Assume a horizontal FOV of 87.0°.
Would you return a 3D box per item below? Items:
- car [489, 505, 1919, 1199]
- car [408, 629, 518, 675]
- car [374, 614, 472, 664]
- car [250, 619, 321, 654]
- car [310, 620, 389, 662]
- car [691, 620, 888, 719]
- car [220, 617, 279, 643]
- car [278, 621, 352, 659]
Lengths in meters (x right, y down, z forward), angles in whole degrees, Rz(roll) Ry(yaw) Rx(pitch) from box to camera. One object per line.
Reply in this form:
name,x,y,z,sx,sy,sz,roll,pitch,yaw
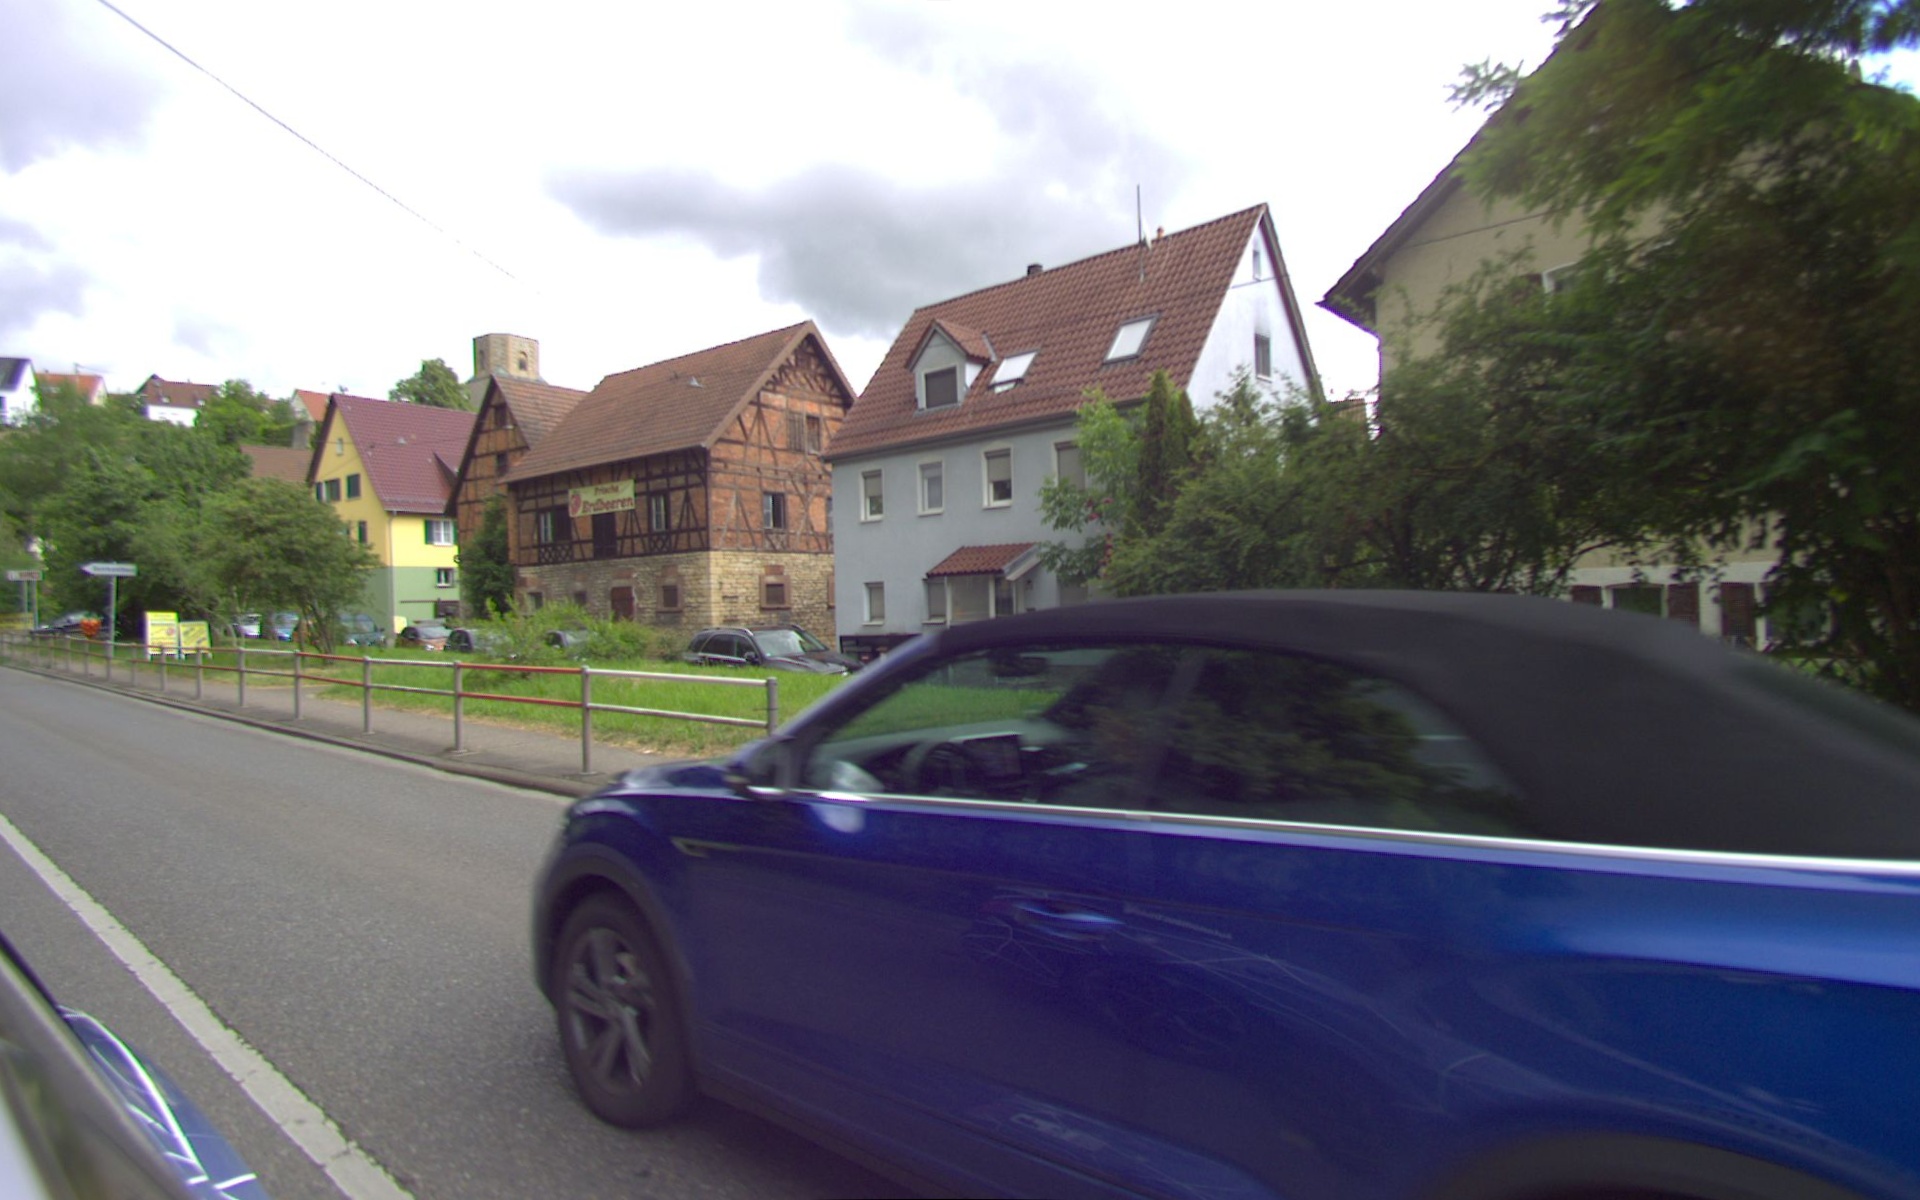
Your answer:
car,0.632,0.673,2.541,4.095,1.480,1.699,-2,-2,39
car,-15.486,1.574,31.424,1.970,1.287,4.003,1,-1,-44
car,-18.601,1.321,34.990,4.001,1.630,1.791,-1,-2,43
car,-33.481,1.774,50.204,4.447,1.630,1.972,-1,-2,43
car,-25.215,1.663,41.746,4.001,1.630,1.791,-1,-2,43
car,-3.421,1.263,19.825,1.898,1.708,4.003,1,-1,-44
car,-38.684,1.601,55.047,4.149,1.355,1.628,-1,-2,40
car,-29.400,1.791,46.114,4.000,1.630,1.927,-1,-2,43
